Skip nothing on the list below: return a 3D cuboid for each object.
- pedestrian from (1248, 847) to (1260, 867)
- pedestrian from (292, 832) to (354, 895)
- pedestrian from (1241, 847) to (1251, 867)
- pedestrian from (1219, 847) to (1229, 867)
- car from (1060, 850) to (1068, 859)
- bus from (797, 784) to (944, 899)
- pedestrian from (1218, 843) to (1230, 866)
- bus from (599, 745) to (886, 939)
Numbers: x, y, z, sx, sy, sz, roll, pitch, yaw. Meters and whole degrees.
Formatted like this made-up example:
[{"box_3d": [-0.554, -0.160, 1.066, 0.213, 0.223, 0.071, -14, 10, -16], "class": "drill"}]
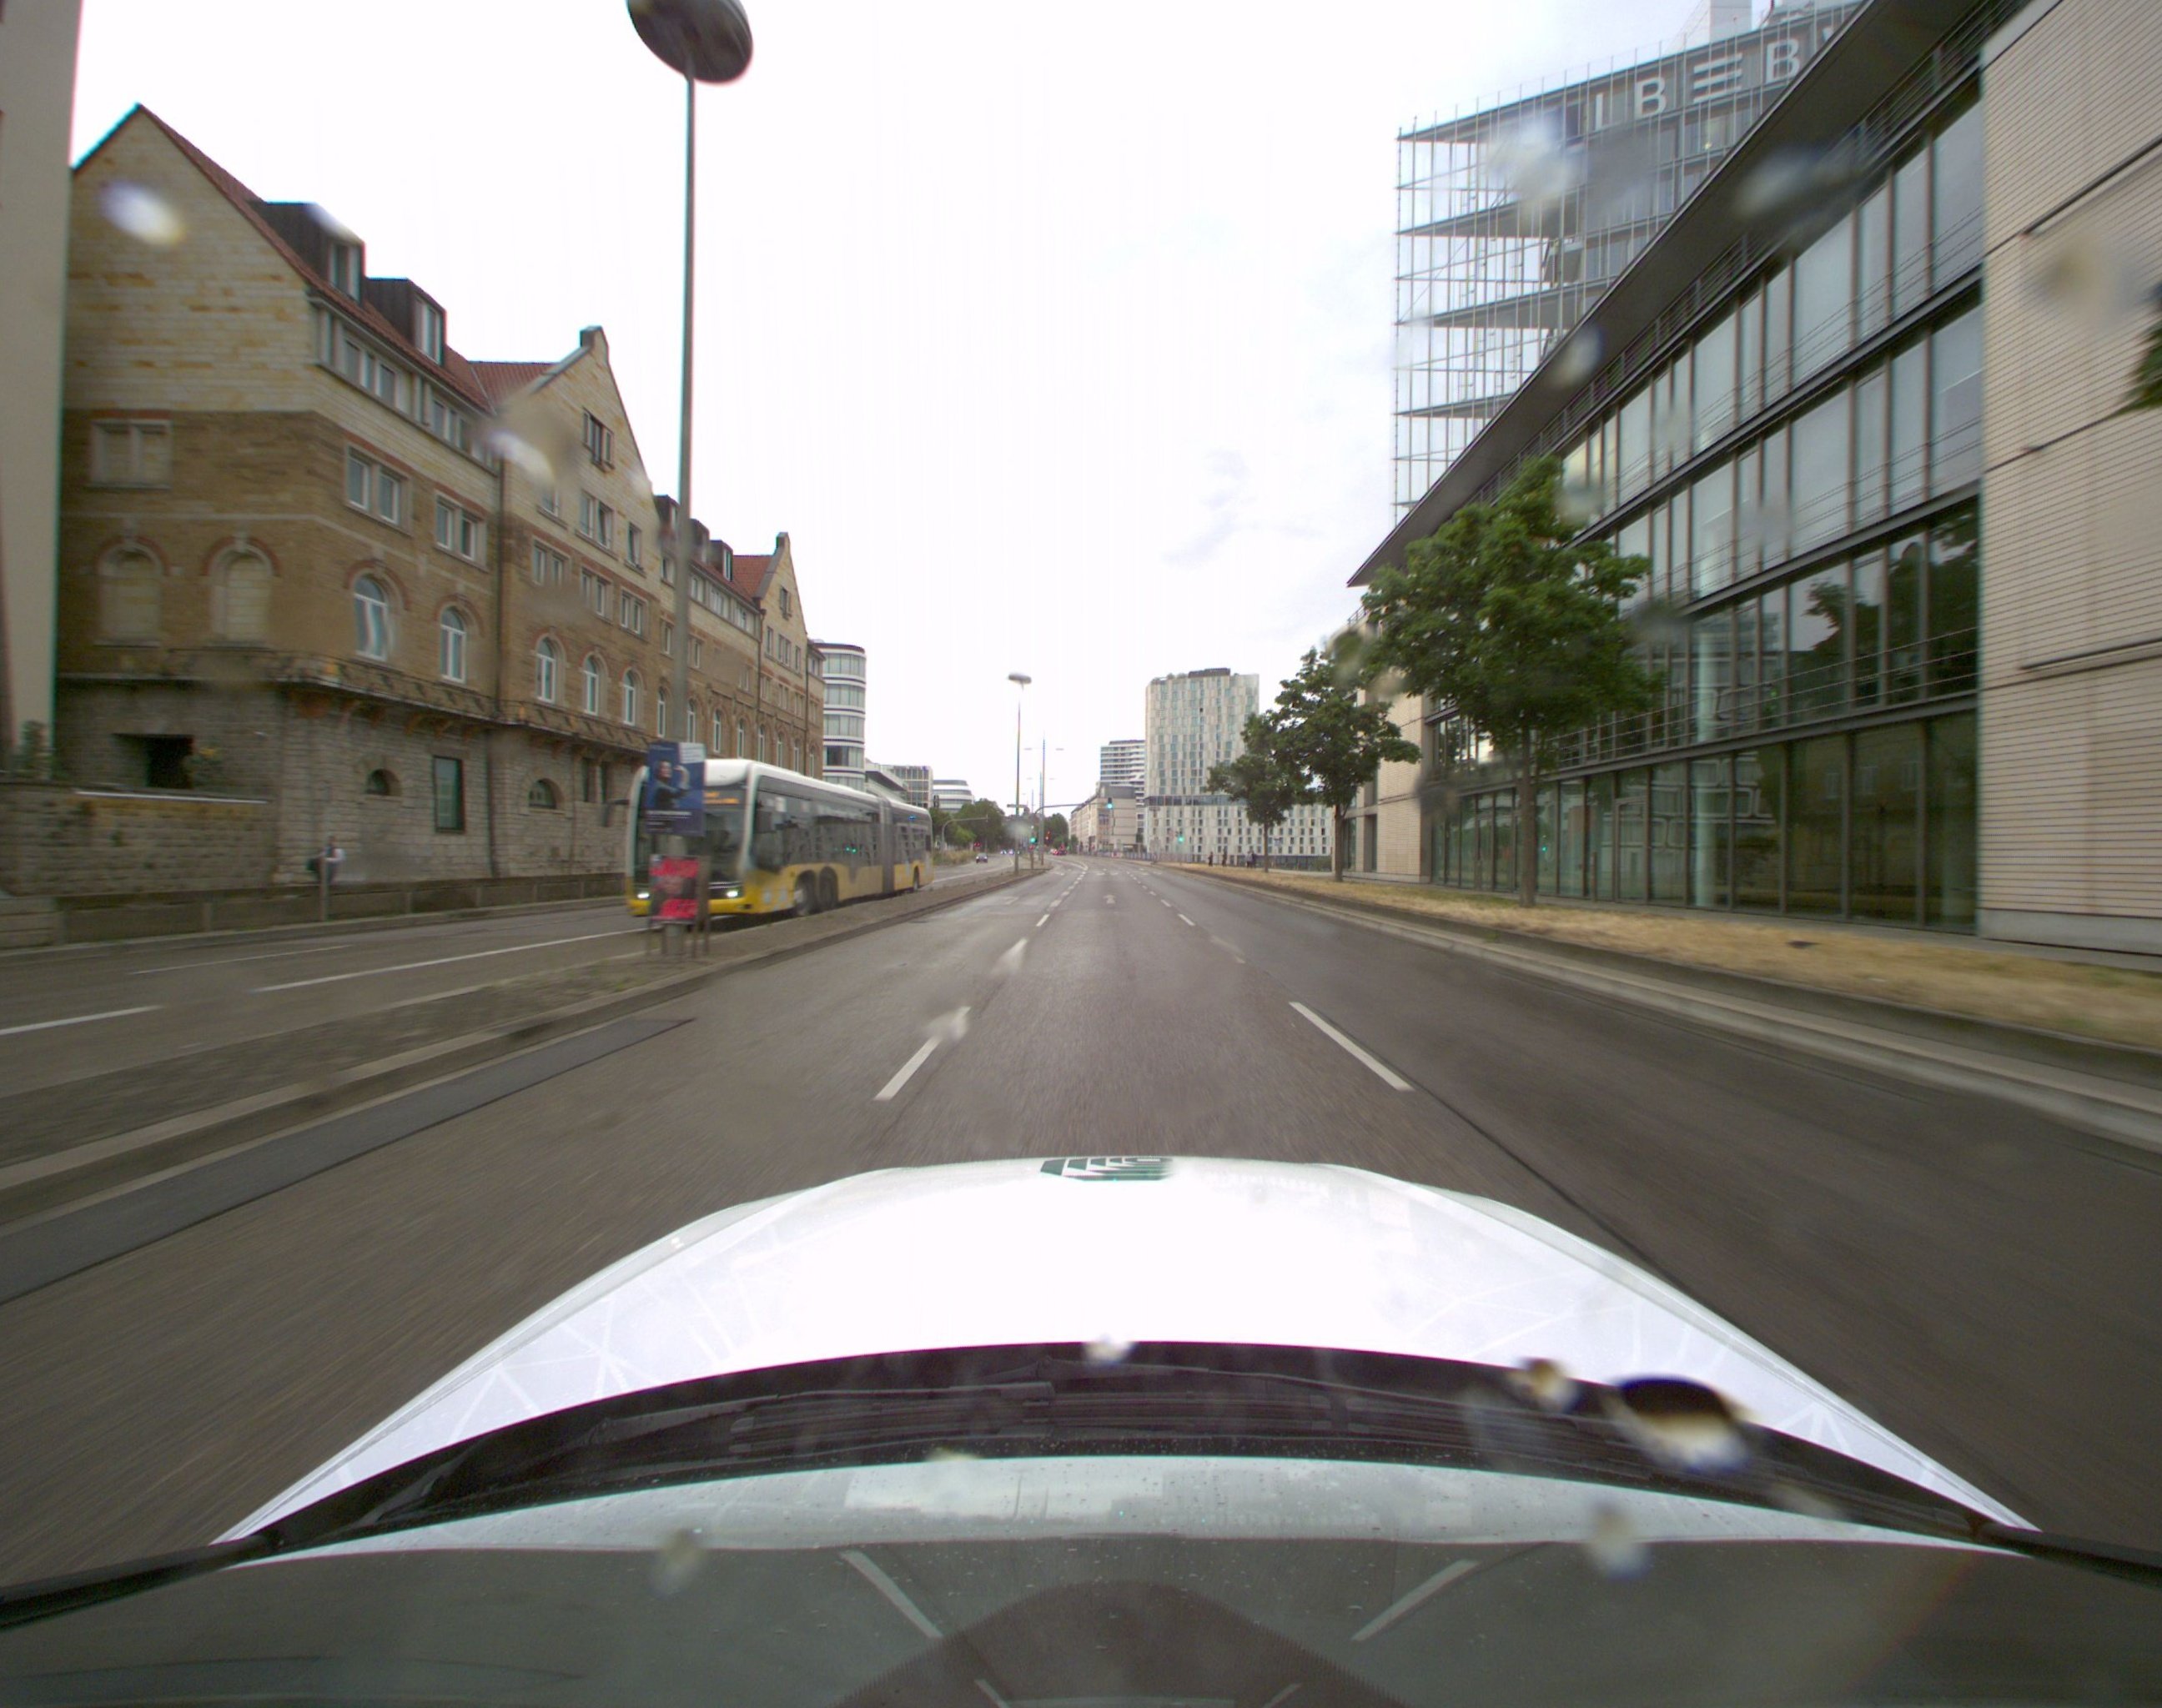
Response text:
[{"box_3d": [14.006, 0.252, 65.882, 0.662, 1.577, 0.673, 0, 2, 39], "class": "pedestrian"}, {"box_3d": [-18.398, 0.216, 19.784, 0.751, 1.477, 0.714, -1, 1, 0], "class": "pedestrian"}, {"box_3d": [13.301, 0.210, 65.479, 0.544, 1.577, 0.675, 0, 2, 35], "class": "pedestrian"}, {"box_3d": [11.729, 0.263, 66.850, 0.544, 1.577, 0.675, 0, 2, 35], "class": "pedestrian"}, {"box_3d": [-5.069, 0.232, 240.850, 1.987, 2.343, 4.000, -6, 0, 0], "class": "car"}, {"box_3d": [-7.431, -0.458, 30.548, 2.689, 3.559, 10.095, -1, 1, 1], "class": "bus"}, {"box_3d": [11.757, 0.034, 66.904, 0.787, 1.841, 0.544, -2, 2, -43], "class": "pedestrian"}, {"box_3d": [-7.532, -0.242, 20.246, 2.689, 3.559, 10.095, -1, 0, 1], "class": "bus"}]
